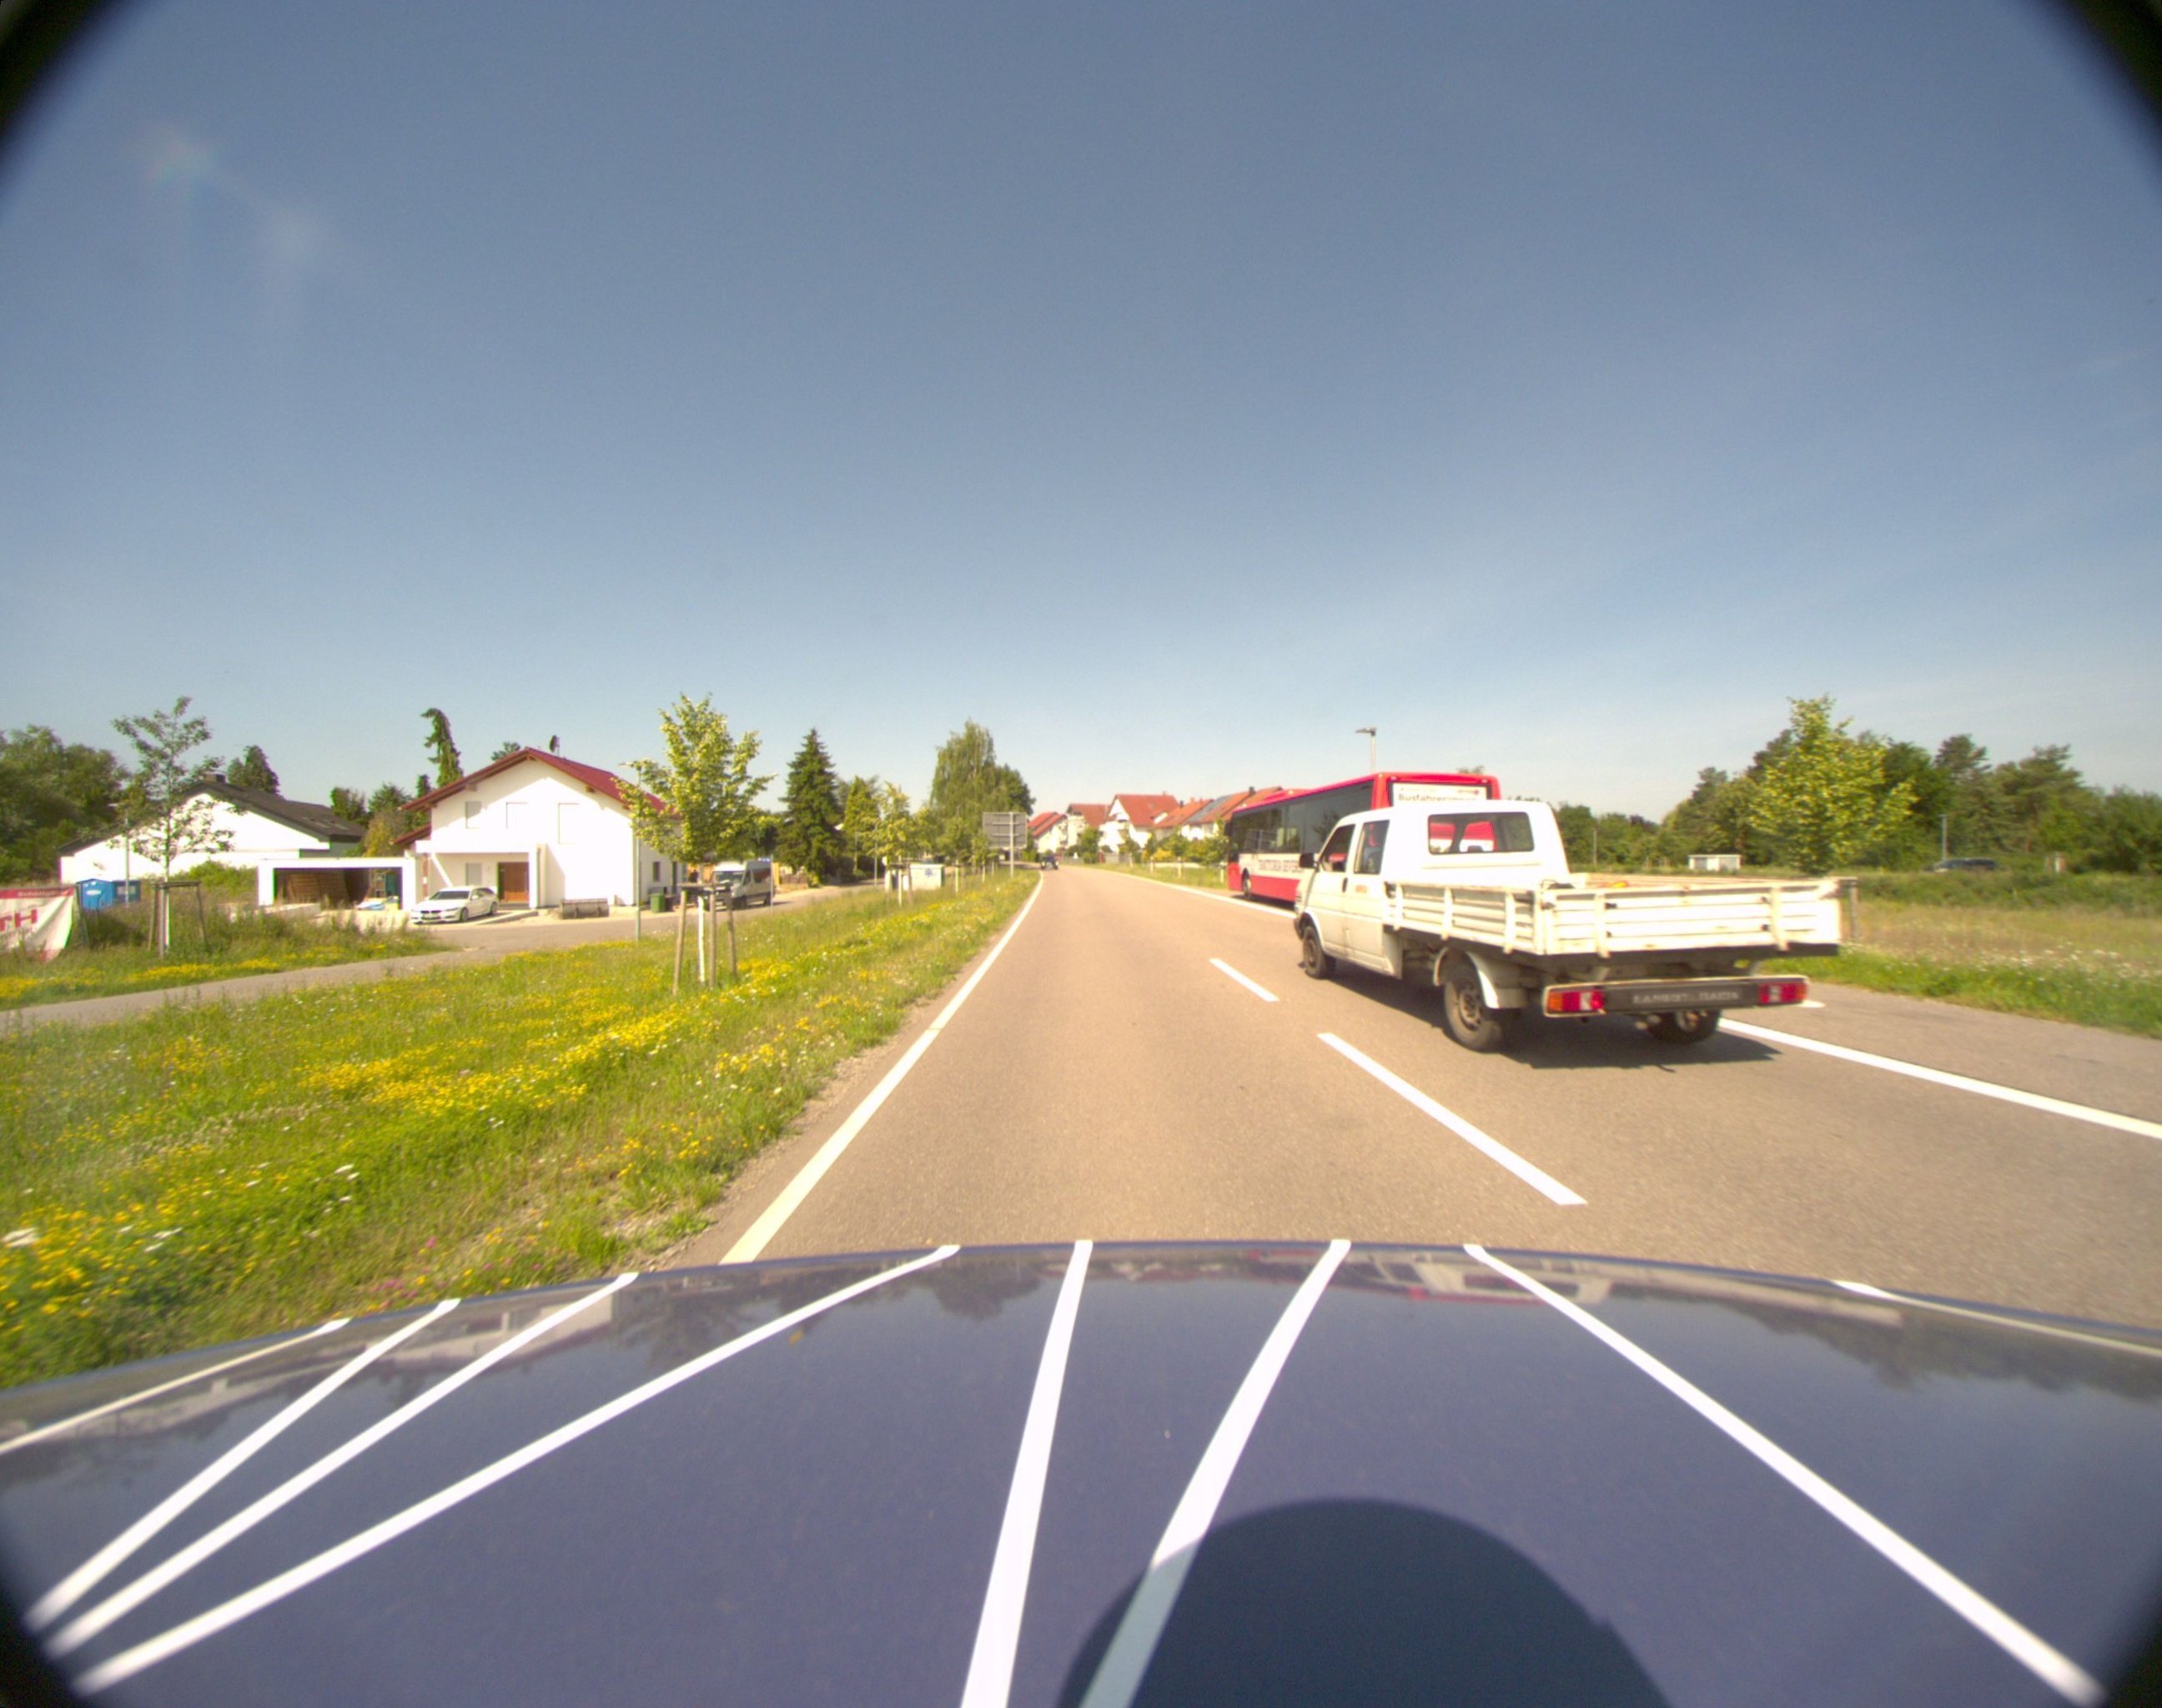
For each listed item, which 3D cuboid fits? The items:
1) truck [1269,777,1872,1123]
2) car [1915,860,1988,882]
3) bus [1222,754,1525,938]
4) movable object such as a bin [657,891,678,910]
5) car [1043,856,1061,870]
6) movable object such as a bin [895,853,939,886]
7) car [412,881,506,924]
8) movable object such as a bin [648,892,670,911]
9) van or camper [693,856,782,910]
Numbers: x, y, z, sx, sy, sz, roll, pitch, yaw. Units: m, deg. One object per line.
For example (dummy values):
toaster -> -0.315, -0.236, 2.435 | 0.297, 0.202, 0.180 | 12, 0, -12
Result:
truck -> 3.592, 0.572, 7.285 | 1.957, 1.973, 5.643 | -1, 0, -2
car -> 62.344, 1.219, 54.469 | 3.555, 1.527, 1.512 | 1, 1, -2
bus -> 6.458, -0.115, 19.918 | 2.802, 3.267, 12.227 | 2, 0, -2
movable object such as a bin -> -21.077, 2.367, 38.710 | 0.694, 0.932, 0.639 | -1, 0, 3
car -> -3.378, 1.022, 89.255 | 1.934, 1.552, 3.998 | 1, 0, -5
movable object such as a bin -> -13.576, 1.228, 63.464 | 2.322, 2.449, 6.943 | -1, 1, -2
car -> -27.811, 2.126, 34.162 | 1.565, 1.549, 4.481 | -3, 1, -16
movable object such as a bin -> -21.107, 2.378, 38.018 | 0.694, 0.932, 0.639 | -1, 0, 3
van or camper -> -18.503, 1.474, 41.314 | 2.178, 2.586, 6.028 | -1, 1, -1
